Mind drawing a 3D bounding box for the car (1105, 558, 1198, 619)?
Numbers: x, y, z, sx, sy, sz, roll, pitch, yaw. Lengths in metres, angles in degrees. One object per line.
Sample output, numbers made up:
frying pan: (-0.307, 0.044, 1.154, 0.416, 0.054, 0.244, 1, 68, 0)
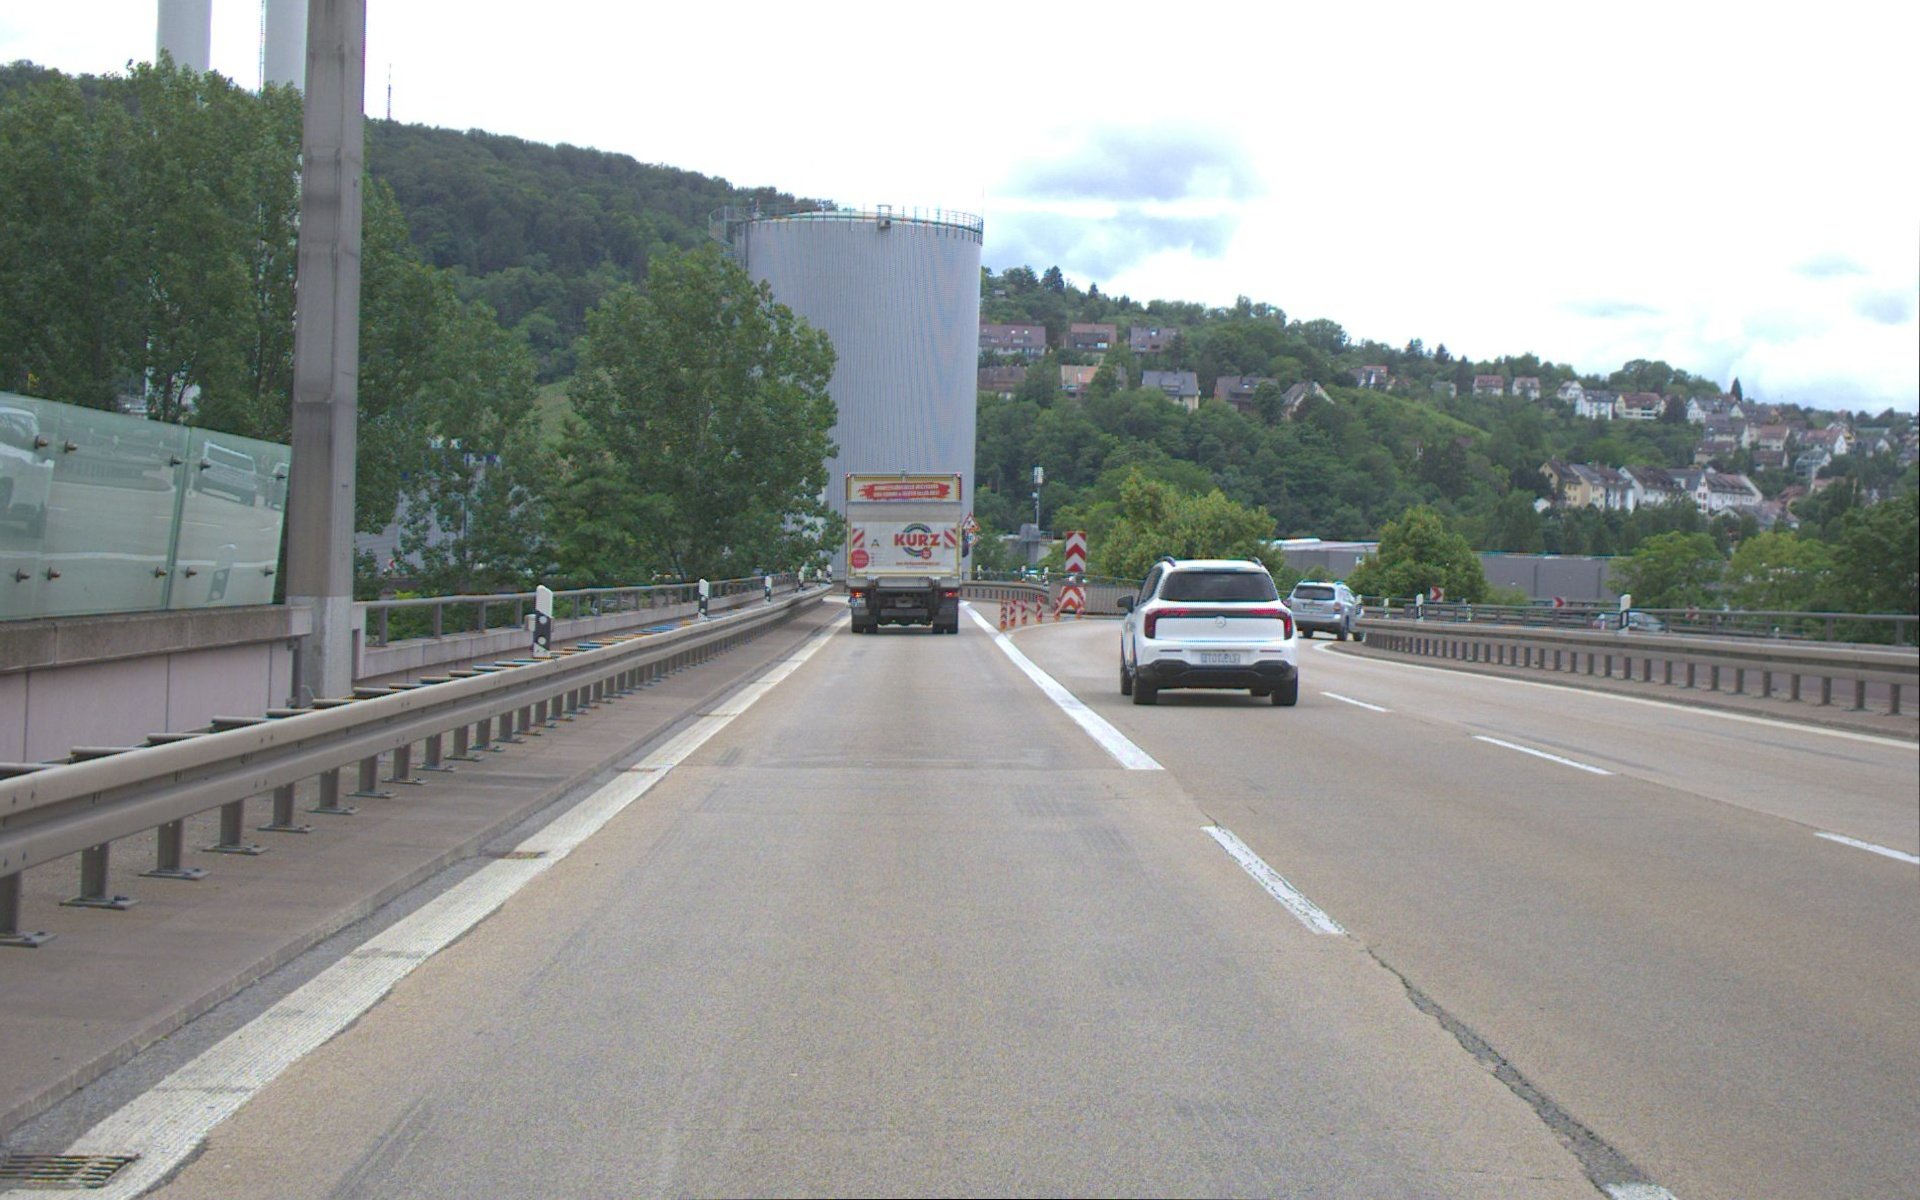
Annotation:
car: (5.905, -0.369, 105.729, 1.925, 1.779, 4.110, 1, 1, 17)

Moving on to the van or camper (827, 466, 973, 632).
van or camper: (-1.277, -1.148, 78.847, 3.122, 3.567, 8.550, 1, 1, 0)

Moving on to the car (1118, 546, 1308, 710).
car: (2.897, 0.276, 40.159, 1.924, 1.779, 4.113, 1, 1, 1)
